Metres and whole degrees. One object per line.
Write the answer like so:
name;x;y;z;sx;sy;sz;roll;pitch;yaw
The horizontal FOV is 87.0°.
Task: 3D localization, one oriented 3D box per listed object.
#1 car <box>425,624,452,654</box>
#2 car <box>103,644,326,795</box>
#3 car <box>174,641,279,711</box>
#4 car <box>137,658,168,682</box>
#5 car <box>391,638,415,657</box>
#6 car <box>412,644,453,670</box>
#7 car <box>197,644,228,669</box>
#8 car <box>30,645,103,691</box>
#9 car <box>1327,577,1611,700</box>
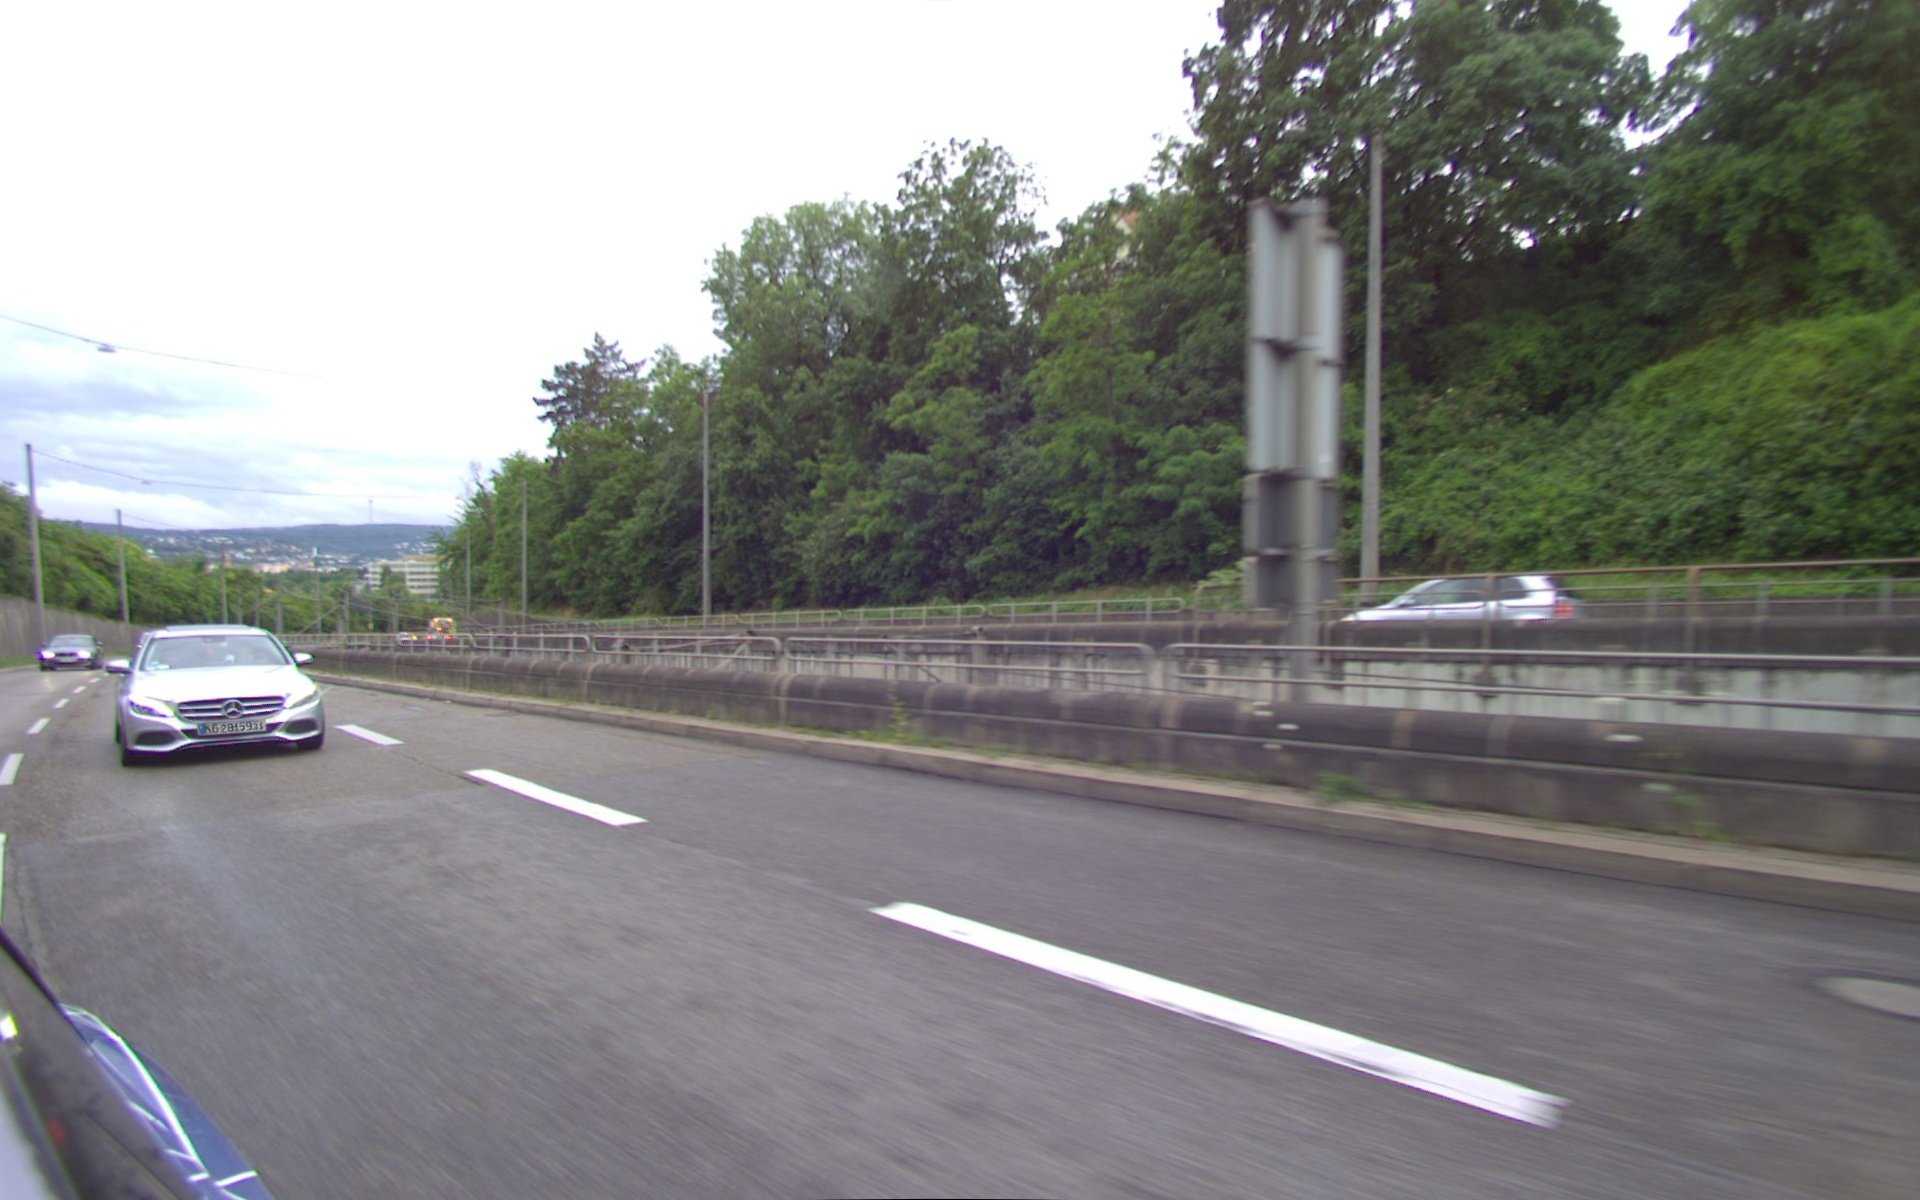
car;-49.611;3.716;96.379;2.152;2.755;6.365;1;-2;-26
car;-8.995;1.261;12.056;1.833;1.414;4.321;0;-2;-41
car;-17.497;1.744;24.075;1.704;1.482;3.893;1;-3;-41
car;-62.111;5.353;77.848;1.783;1.521;4.007;-2;1;-39
car;-52.273;4.469;94.994;1.792;1.717;4.124;1;-2;-26
car;-37.406;3.993;71.725;1.935;1.763;4.151;1;-3;-36
car;-64.691;4.885;87.630;1.967;2.029;4.505;1;-3;-35
car;-35.420;2.647;40.207;1.782;1.521;4.009;-2;1;-37
car;8.577;0.661;17.268;4.000;1.844;1.652;-3;-3;43
